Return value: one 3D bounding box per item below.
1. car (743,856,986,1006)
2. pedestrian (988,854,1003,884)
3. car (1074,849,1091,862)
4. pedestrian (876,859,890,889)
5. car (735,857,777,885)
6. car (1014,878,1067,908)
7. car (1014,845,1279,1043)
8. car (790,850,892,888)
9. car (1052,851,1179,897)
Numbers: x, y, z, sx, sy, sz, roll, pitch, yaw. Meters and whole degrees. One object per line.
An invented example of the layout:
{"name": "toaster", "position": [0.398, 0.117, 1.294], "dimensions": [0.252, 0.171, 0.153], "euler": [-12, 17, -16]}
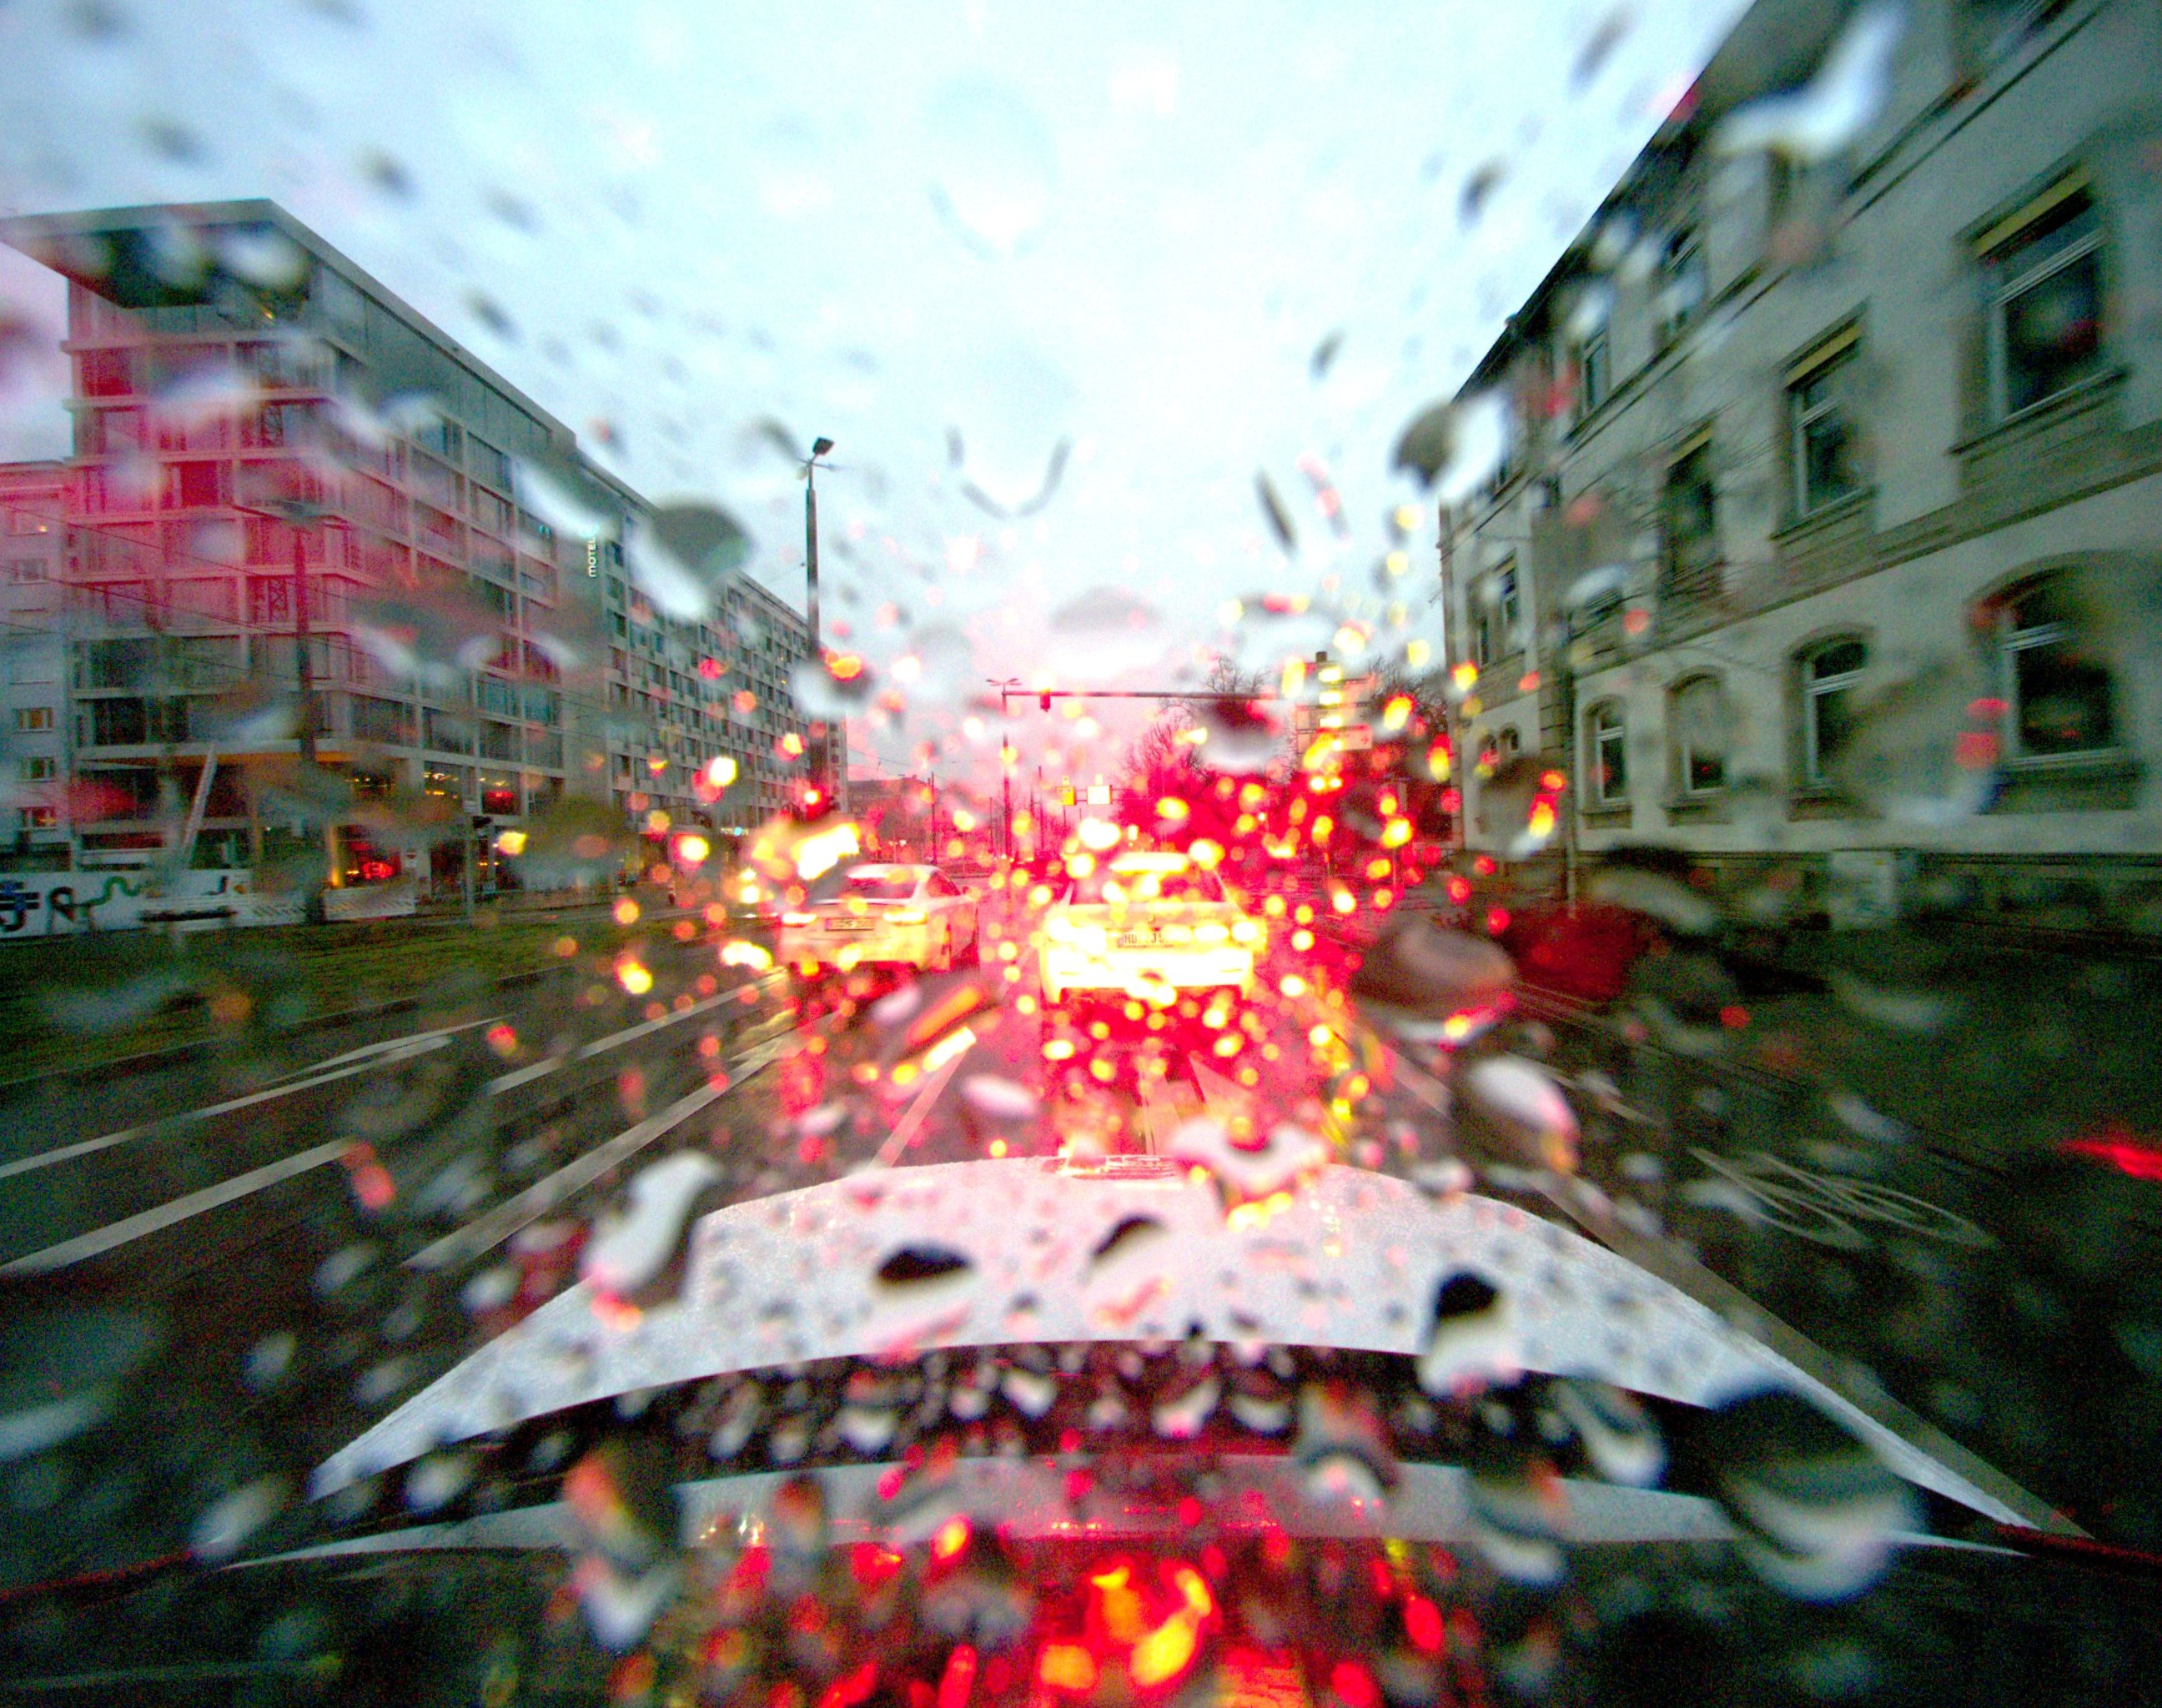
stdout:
{"name": "car", "position": [-2.512, 0.805, 10.669], "dimensions": [1.987, 1.456, 4.367], "euler": [-1, 0, 0]}
{"name": "pedestrian", "position": [-5.282, 0.923, 50.362], "dimensions": [0.902, 1.856, 0.810], "euler": [0, -1, -8]}
{"name": "car", "position": [0.148, 0.215, 97.416], "dimensions": [1.987, 1.456, 4.367], "euler": [-1, 0, 0]}
{"name": "pedestrian", "position": [-11.741, 1.182, 48.196], "dimensions": [0.791, 1.711, 0.809], "euler": [0, -1, -13]}
{"name": "car", "position": [-18.934, 0.991, 47.370], "dimensions": [1.767, 1.530, 4.287], "euler": [0, -1, -28]}
{"name": "car", "position": [-2.371, 2.260, 48.194], "dimensions": [1.828, 1.609, 3.963], "euler": [-1, -1, 18]}
{"name": "car", "position": [0.497, 0.667, 8.406], "dimensions": [1.987, 1.456, 4.367], "euler": [-1, 0, 0]}
{"name": "car", "position": [-11.521, 0.746, 38.985], "dimensions": [4.651, 1.720, 1.913], "euler": [-2, -1, 28]}
{"name": "car", "position": [1.388, 0.806, 32.558], "dimensions": [4.655, 1.720, 1.878], "euler": [-1, -1, 21]}
